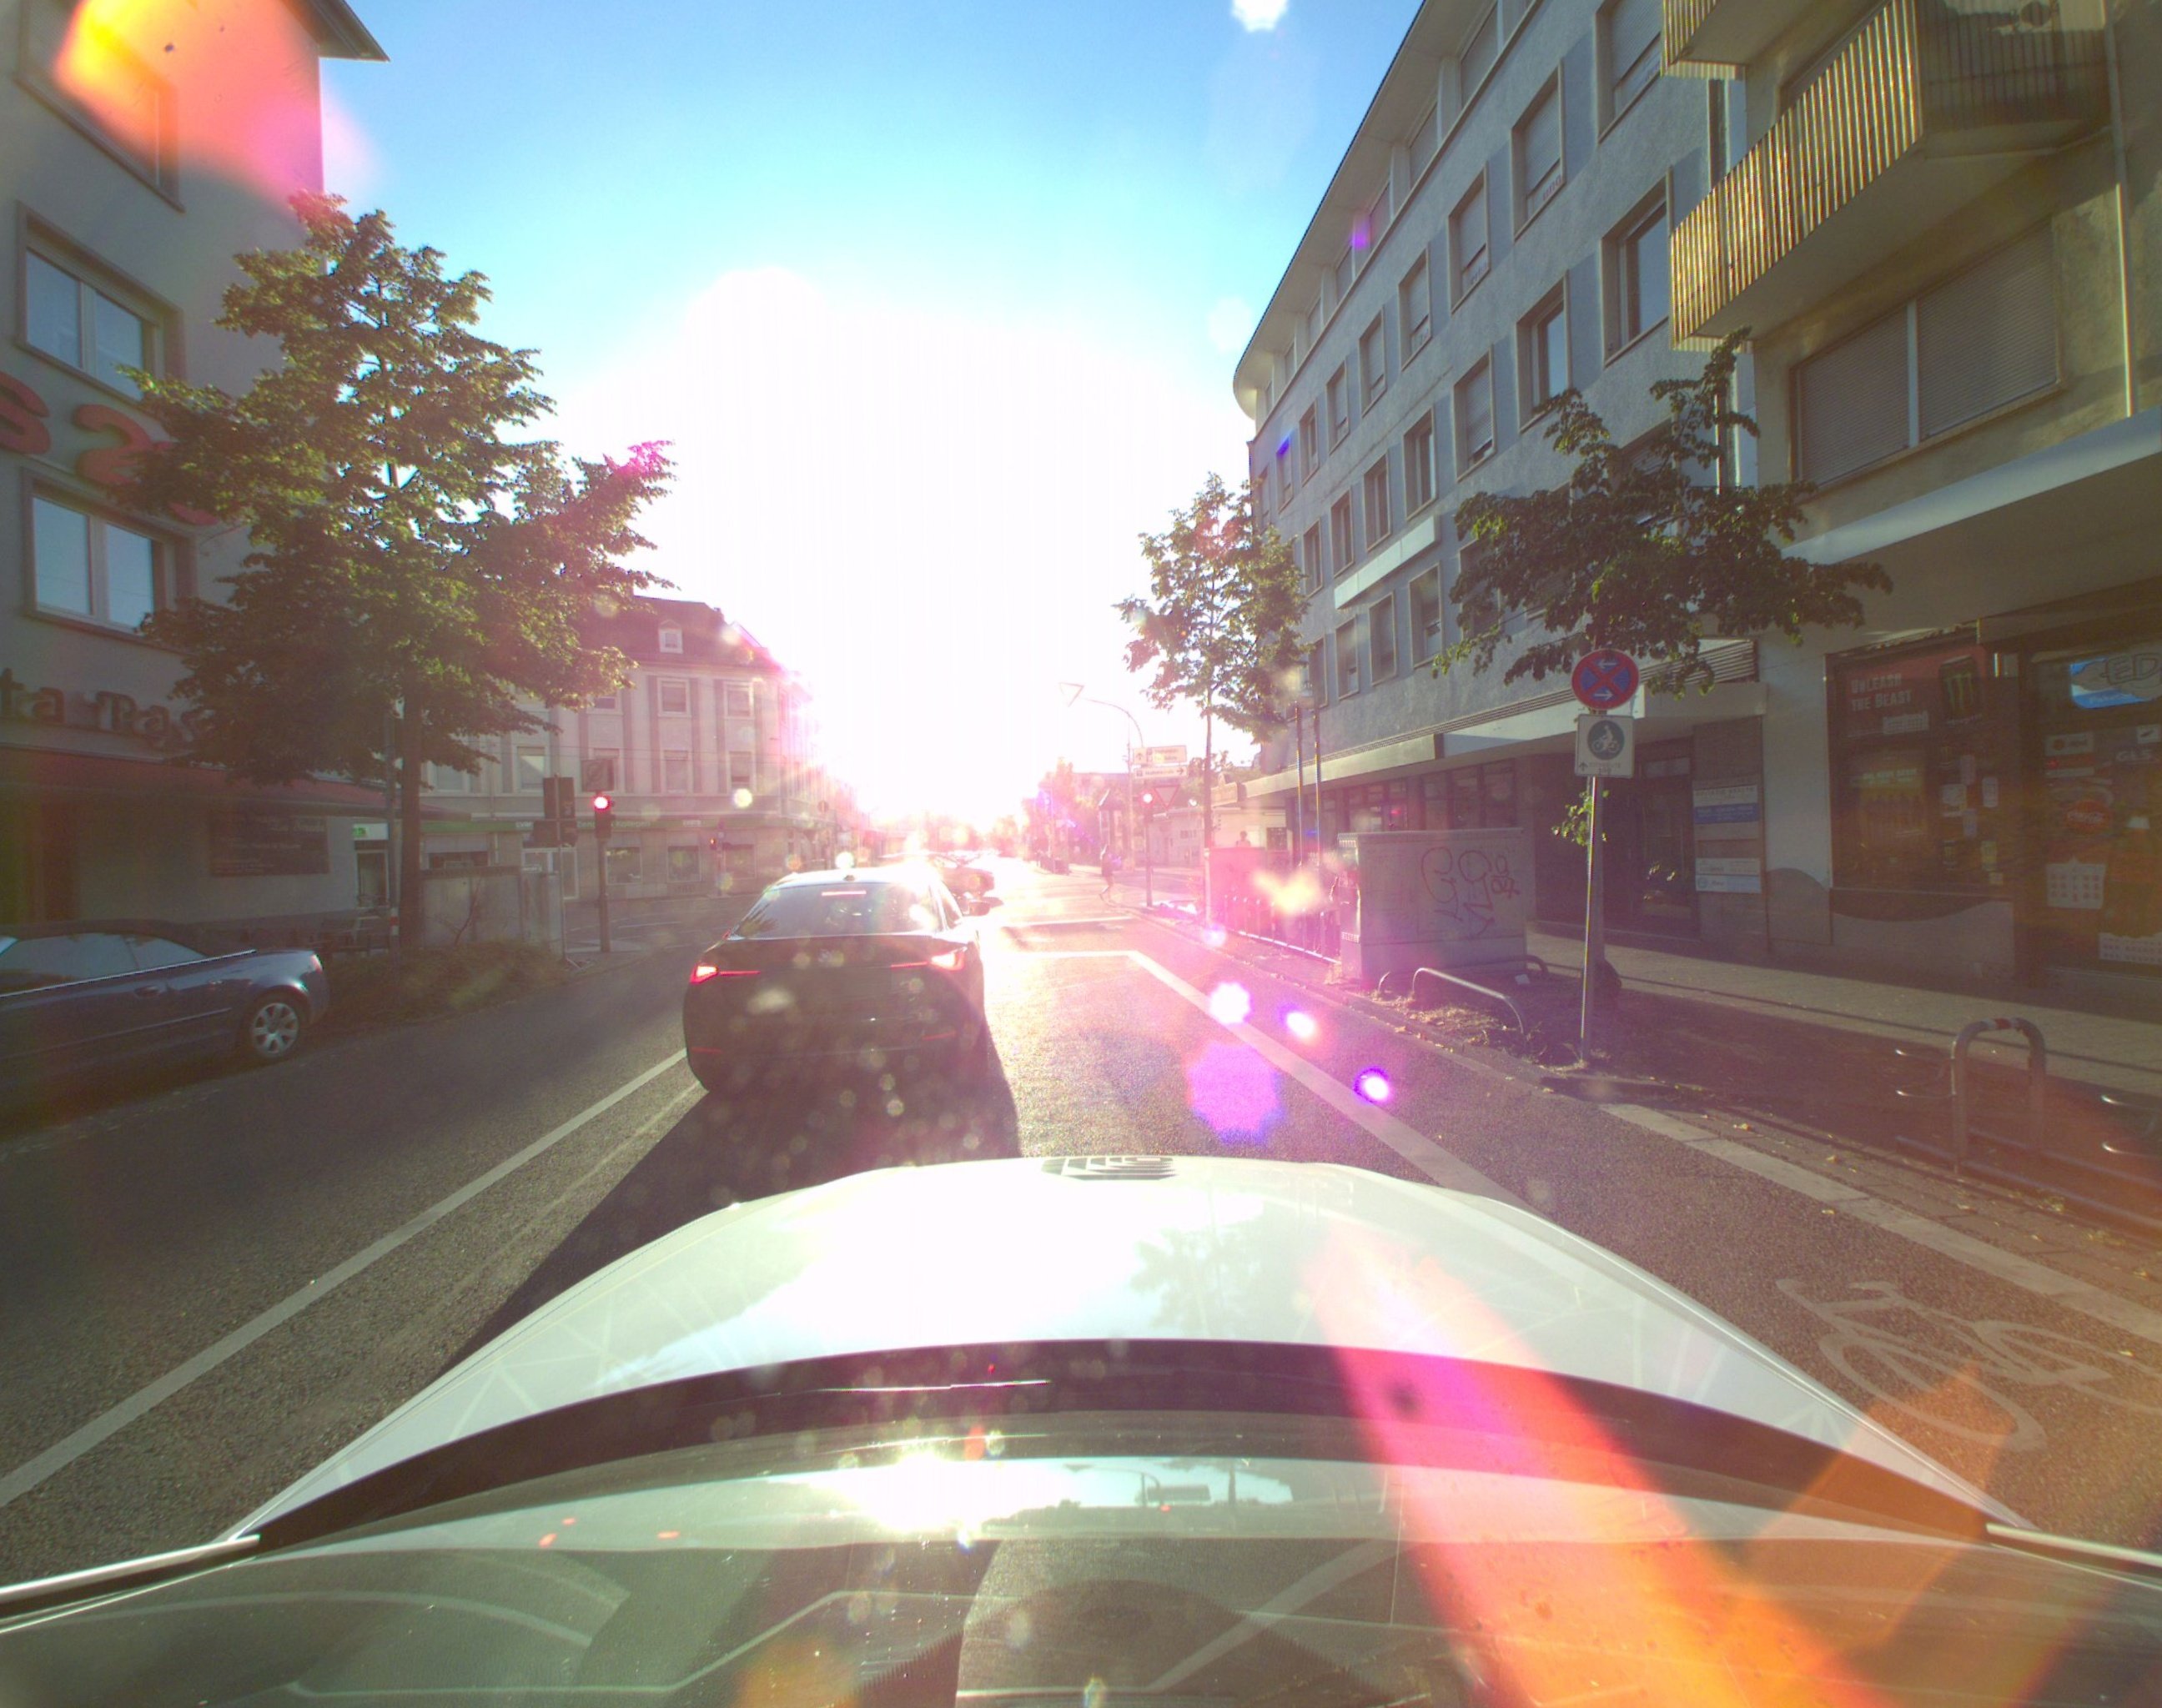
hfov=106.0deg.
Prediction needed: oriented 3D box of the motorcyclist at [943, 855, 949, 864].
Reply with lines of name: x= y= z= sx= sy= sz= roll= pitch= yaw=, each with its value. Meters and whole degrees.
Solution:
motorcyclist: x=-15.625 y=0.605 z=94.224 sx=0.574 sy=0.995 sz=0.701 roll=0 pitch=0 yaw=-6

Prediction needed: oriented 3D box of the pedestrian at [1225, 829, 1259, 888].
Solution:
pedestrian: x=5.152 y=0.139 z=26.046 sx=0.834 sy=1.841 sz=0.677 roll=-2 pitch=0 yaw=-6

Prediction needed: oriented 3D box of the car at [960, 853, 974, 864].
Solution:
car: x=-17.316 y=0.640 z=123.921 sx=1.816 sy=1.519 sz=3.992 roll=-2 pitch=0 yaw=-6

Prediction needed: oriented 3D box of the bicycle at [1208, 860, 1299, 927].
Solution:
bicycle: x=3.209 y=0.724 z=15.202 sx=1.610 sy=1.171 sz=0.318 roll=-2 pitch=0 yaw=-5

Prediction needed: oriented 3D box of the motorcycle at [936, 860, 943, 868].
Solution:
motorcycle: x=-16.446 y=1.143 z=94.732 sx=0.574 sy=0.915 sz=2.196 roll=0 pitch=0 yaw=-6

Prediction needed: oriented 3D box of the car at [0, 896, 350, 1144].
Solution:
car: x=-7.635 y=1.152 z=5.544 sx=1.721 sy=1.415 sz=4.270 roll=-4 pitch=0 yaw=-7

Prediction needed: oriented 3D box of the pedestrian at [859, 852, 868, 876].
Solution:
pedestrian: x=-17.138 y=0.767 z=64.192 sx=0.642 sy=1.876 sz=0.630 roll=0 pitch=0 yaw=-7

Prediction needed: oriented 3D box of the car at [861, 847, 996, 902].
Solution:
car: x=-5.339 y=0.662 z=28.693 sx=4.307 sy=1.707 sz=1.787 roll=-2 pitch=1 yaw=-32

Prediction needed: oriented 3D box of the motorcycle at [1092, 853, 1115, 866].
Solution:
motorcycle: x=1.862 y=0.456 z=67.970 sx=1.673 sy=0.939 sz=0.851 roll=-2 pitch=0 yaw=-18

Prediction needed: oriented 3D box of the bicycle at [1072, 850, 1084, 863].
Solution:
bicycle: x=-0.280 y=0.239 z=73.950 sx=0.551 sy=1.159 sz=2.133 roll=-1 pitch=-1 yaw=-14

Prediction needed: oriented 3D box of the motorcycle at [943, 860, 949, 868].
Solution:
motorcycle: x=-15.637 y=1.137 z=94.321 sx=0.574 sy=0.915 sz=2.196 roll=0 pitch=0 yaw=-6

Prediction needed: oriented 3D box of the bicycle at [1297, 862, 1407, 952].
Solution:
bicycle: x=3.824 y=0.736 z=11.506 sx=1.438 sy=1.220 sz=0.383 roll=0 pitch=0 yaw=-5

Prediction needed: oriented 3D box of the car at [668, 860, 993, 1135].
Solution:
car: x=-1.641 y=0.799 z=6.651 sx=1.735 sy=1.428 sz=4.213 roll=-1 pitch=0 yaw=-7

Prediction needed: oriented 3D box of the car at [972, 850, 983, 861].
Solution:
car: x=-18.725 y=0.207 z=147.724 sx=1.768 sy=1.848 sz=3.994 roll=-2 pitch=0 yaw=-4

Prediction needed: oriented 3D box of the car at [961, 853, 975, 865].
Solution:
car: x=-15.716 y=0.642 z=113.592 sx=1.816 sy=1.519 sz=3.992 roll=-2 pitch=0 yaw=-6

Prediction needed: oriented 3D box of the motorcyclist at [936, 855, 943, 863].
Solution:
motorcyclist: x=-16.450 y=0.611 z=94.720 sx=0.574 sy=0.915 sz=2.196 roll=0 pitch=0 yaw=-6

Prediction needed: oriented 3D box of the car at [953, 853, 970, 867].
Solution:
car: x=-13.946 y=0.674 z=95.181 sx=1.816 sy=1.519 sz=3.992 roll=-2 pitch=0 yaw=-6

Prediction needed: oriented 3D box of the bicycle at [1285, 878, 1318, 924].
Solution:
bicycle: x=4.150 y=0.874 z=15.385 sx=0.249 sy=0.796 sz=1.114 roll=0 pitch=0 yaw=-4

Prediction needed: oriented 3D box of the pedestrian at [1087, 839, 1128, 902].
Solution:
pedestrian: x=0.821 y=0.493 z=24.969 sx=1.006 sy=1.860 sz=0.634 roll=-3 pitch=1 yaw=-27

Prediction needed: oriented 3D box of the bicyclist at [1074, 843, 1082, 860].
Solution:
bicyclist: x=-0.292 y=-0.235 z=73.968 sx=0.551 sy=1.481 sz=0.719 roll=-1 pitch=-1 yaw=-15

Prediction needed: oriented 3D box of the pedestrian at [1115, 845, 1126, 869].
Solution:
pedestrian: x=2.588 y=0.183 z=53.201 sx=0.730 sy=1.529 sz=0.472 roll=0 pitch=0 yaw=0
